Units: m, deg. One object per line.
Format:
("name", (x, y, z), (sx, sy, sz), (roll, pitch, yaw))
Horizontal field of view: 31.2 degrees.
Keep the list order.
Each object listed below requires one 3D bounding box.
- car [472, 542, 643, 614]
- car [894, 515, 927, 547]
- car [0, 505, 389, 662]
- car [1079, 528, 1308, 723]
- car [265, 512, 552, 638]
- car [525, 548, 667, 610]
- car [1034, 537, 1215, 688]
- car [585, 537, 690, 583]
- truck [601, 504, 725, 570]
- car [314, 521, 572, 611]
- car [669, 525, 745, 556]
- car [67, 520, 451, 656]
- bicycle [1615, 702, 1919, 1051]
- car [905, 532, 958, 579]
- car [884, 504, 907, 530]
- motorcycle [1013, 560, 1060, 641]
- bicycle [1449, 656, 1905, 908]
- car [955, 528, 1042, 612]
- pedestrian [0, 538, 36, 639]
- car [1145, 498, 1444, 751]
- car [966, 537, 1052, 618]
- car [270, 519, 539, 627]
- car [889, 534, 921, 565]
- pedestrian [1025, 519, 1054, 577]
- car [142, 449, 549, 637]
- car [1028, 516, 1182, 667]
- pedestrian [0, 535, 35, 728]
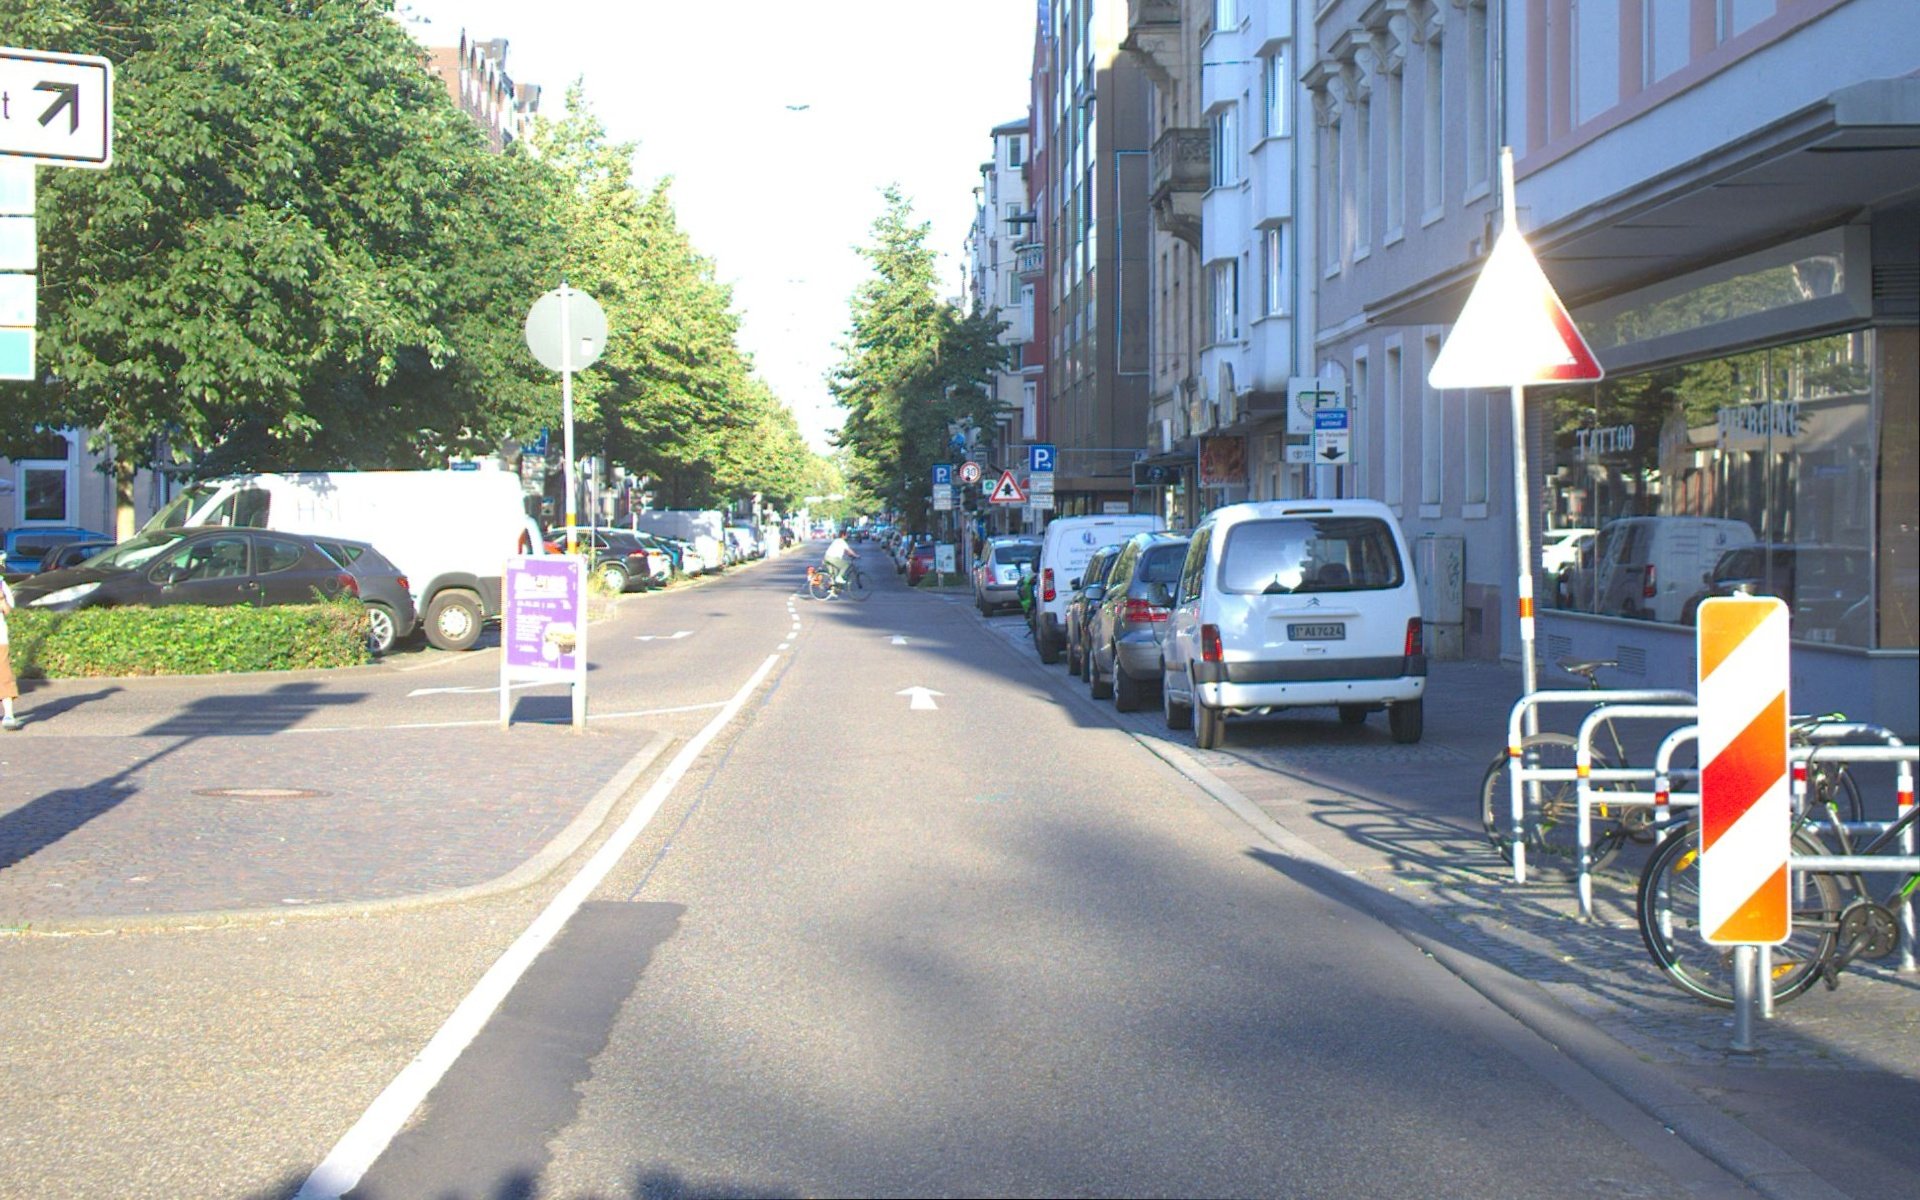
("car", (-10.935, -0.601, 93.636), (4.448, 1.829, 2.034), (1, 1, -2))
("car", (-2.119, -2.940, 145.561), (1.206, 1.296, 2.661), (2, 1, -4))
("car", (-8.252, -0.199, 36.728), (3.873, 1.577, 1.802), (-1, 2, -41))
("car", (2.104, 0.180, 31.970), (1.656, 1.659, 4.108), (1, 1, -2))
("car", (-8.614, -0.396, 53.821), (3.988, 1.871, 1.871), (0, 2, -37))
("car", (-10.662, -0.636, 100.836), (3.989, 1.702, 1.833), (1, 1, -2))
("car", (1.773, 0.097, 38.189), (1.667, 1.539, 3.883), (1, 1, -2))
("car", (-12.026, -1.506, 128.267), (3.739, 1.590, 2.000), (1, 1, -2))
("truck", (-12.061, -2.560, 139.843), (4.940, 2.606, 2.000), (0, 1, -2))
("car", (-9.090, -0.592, 60.474), (3.987, 1.480, 2.000), (1, 1, -31))
("car", (-12.710, -3.006, 172.959), (3.739, 1.487, 2.000), (1, 1, -2))
("car", (-8.144, -0.148, 40.091), (3.988, 1.481, 1.832), (0, 2, -41))
("bicycle", (2.937, 0.829, 10.528), (1.788, 0.986, 0.542), (-2, 3, 10))
("car", (-0.986, -1.507, 117.670), (1.576, 1.537, 3.397), (-2, 1, -4))
("car", (-4.145, -5.303, 220.126), (1.308, 1.594, 2.661), (1, 0, -4))
("motorcycle", (1.197, -0.002, 53.885), (0.588, 1.196, 2.211), (1, 1, -2))
("bicycle", (3.025, 0.766, 14.522), (1.789, 0.986, 0.541), (-2, 3, 21))
("car", (0.823, -0.684, 75.719), (1.696, 1.763, 4.001), (0, 1, -2))
("pedestrian", (-12.275, -0.149, 43.785), (0.747, 1.273, 0.661), (0, 2, -39))
("car", (2.486, 0.141, 26.475), (1.792, 1.785, 4.092), (0, 1, -1))
("car", (1.000, -0.484, 70.672), (1.680, 1.556, 4.000), (-1, 2, 1))
("car", (-9.114, -0.435, 56.557), (3.988, 1.690, 1.749), (1, 1, -37))
("car", (-2.401, -2.181, 149.673), (1.206, 1.296, 2.661), (1, 0, -4))
("pedestrian", (2.325, -1.539, 100.818), (0.765, 1.683, 0.786), (-1, 1, -4))
("car", (-7.809, -0.702, 43.696), (4.598, 2.243, 2.203), (1, 1, -28))
("car", (1.829, -0.156, 44.467), (1.710, 1.828, 4.306), (1, 1, -1))
("pedestrian", (-6.985, 0.216, 24.468), (0.562, 1.359, 0.614), (0, 2, -39))
